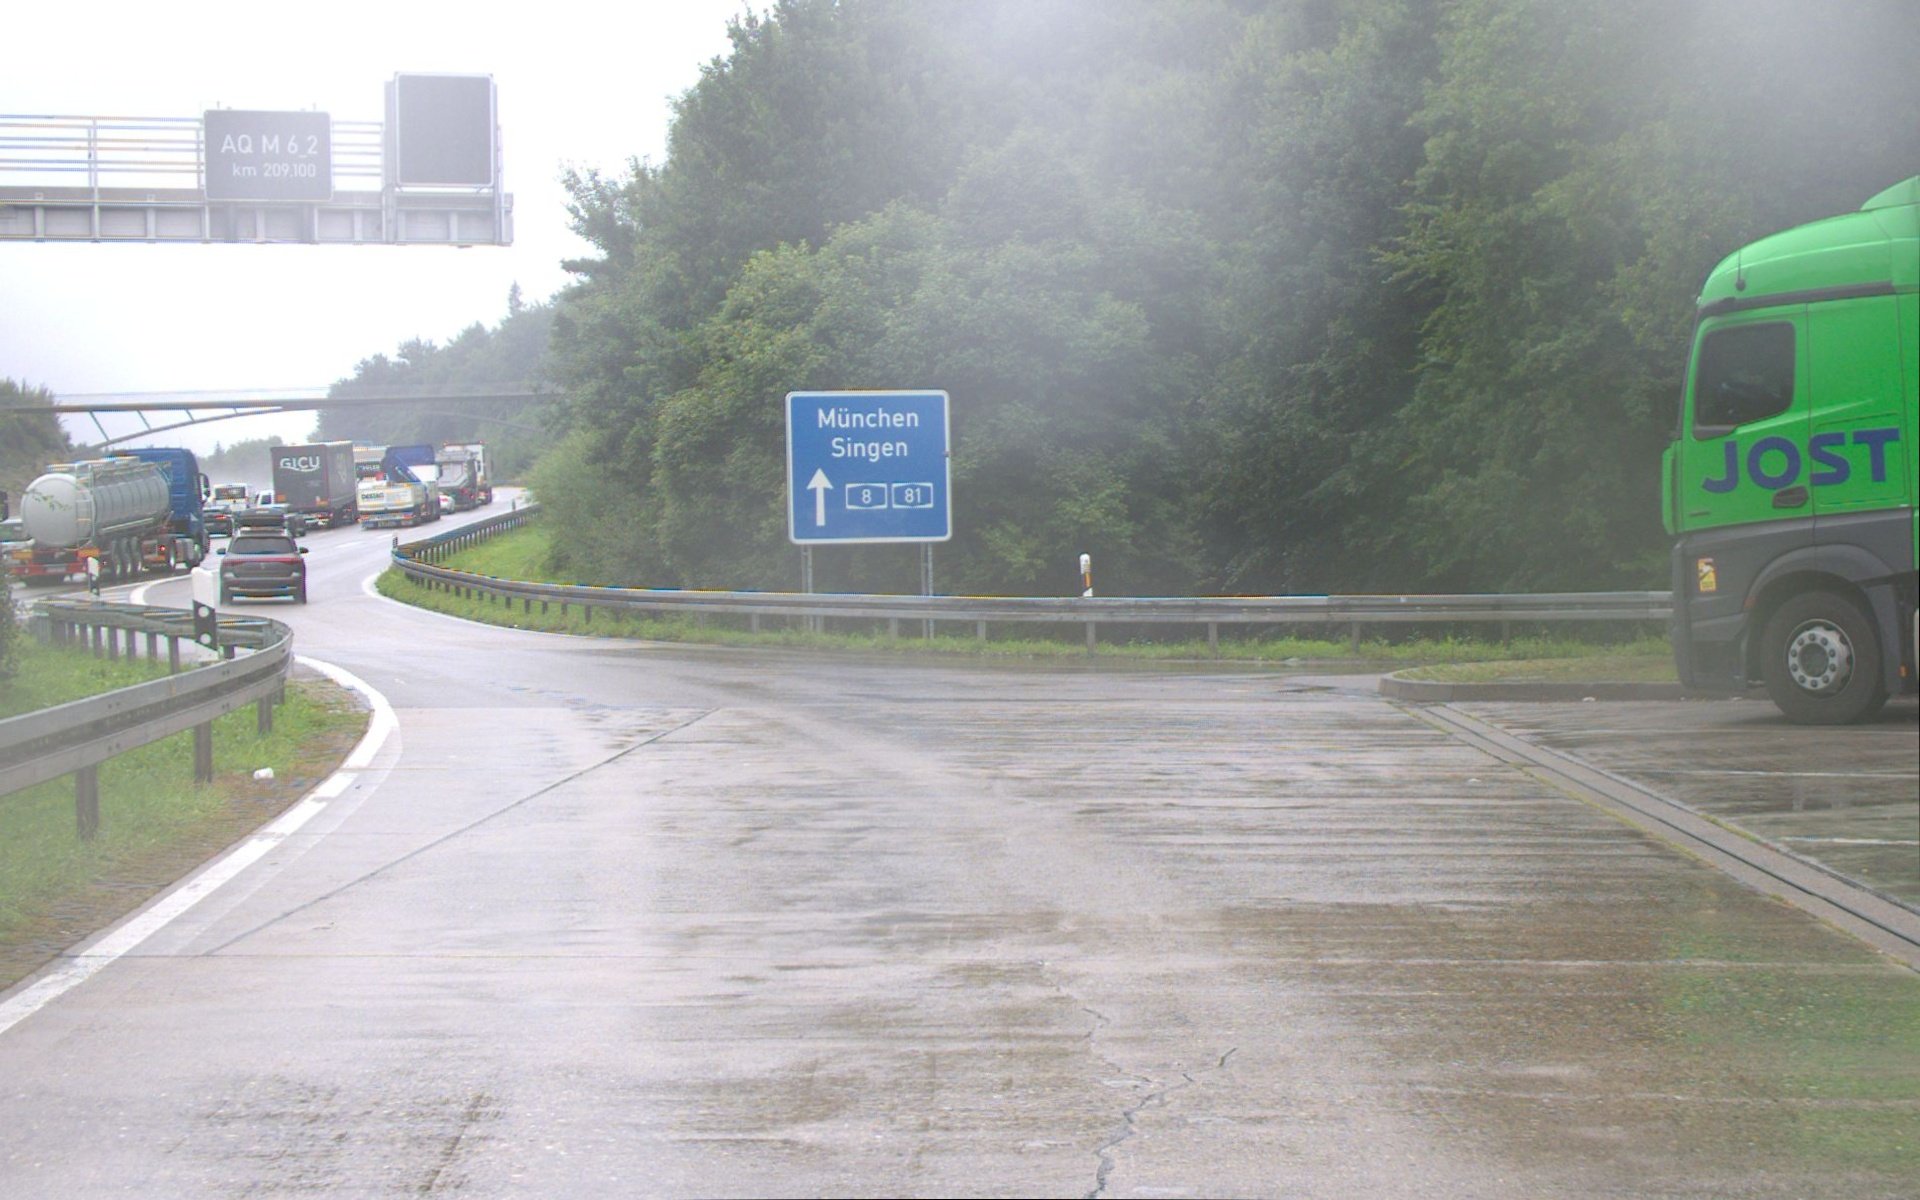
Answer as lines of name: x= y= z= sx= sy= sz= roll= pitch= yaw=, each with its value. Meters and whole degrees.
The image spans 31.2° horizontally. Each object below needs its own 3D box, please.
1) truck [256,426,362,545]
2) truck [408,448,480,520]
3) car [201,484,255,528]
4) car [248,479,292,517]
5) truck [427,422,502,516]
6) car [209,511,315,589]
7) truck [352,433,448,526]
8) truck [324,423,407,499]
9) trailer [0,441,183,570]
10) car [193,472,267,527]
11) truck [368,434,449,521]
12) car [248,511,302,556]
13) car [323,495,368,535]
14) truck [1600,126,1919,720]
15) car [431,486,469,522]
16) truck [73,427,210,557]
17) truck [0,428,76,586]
truck: x=-31.220 y=-5.415 z=165.279 sx=3.754 sy=5.480 sz=10.174 roll=1 pitch=1 yaw=-4
truck: x=-30.326 y=-6.753 z=202.507 sx=3.754 sy=3.957 sz=11.062 roll=1 pitch=1 yaw=-6
car: x=-33.284 y=-4.271 z=156.491 sx=1.797 sy=1.897 sz=4.001 roll=-2 pitch=1 yaw=-4
car: x=-36.373 y=-5.350 z=181.239 sx=1.797 sy=1.897 sz=4.001 roll=-2 pitch=1 yaw=-5
truck: x=-31.818 y=-8.335 z=221.235 sx=4.335 sy=5.744 sz=9.733 roll=1 pitch=1 yaw=-6
car: x=-15.283 y=-1.104 z=75.458 sx=1.993 sy=1.630 sz=4.001 roll=1 pitch=1 yaw=-8
truck: x=-26.412 y=-5.739 z=162.572 sx=3.599 sy=4.090 sz=11.563 roll=-3 pitch=3 yaw=-6
truck: x=-34.767 y=-8.079 z=201.557 sx=3.576 sy=4.081 sz=10.882 roll=-2 pitch=1 yaw=-4
trailer: x=-24.248 y=-2.736 z=96.139 sx=2.873 sy=3.277 sz=10.080 roll=-2 pitch=3 yaw=-1
car: x=-42.105 y=-5.792 z=198.589 sx=3.246 sy=2.992 sz=6.774 roll=1 pitch=1 yaw=-4
truck: x=-28.506 y=-6.292 z=178.172 sx=3.506 sy=4.253 sz=10.606 roll=1 pitch=1 yaw=-6
car: x=-29.111 y=-2.823 z=146.227 sx=1.797 sy=1.897 sz=4.001 roll=1 pitch=1 yaw=-5
car: x=-30.964 y=-4.273 z=173.303 sx=1.797 sy=1.897 sz=4.001 roll=-2 pitch=1 yaw=-5
truck: x=7.989 y=-1.292 z=24.697 sx=2.819 sy=4.135 sz=5.994 roll=-3 pitch=1 yaw=-45
car: x=-28.116 y=-5.307 z=189.673 sx=1.797 sy=1.897 sz=4.001 roll=-2 pitch=1 yaw=-5
truck: x=-24.466 y=-3.272 z=102.997 sx=2.877 sy=3.680 sz=5.057 roll=-2 pitch=3 yaw=-2
truck: x=-23.157 y=-2.073 z=78.620 sx=2.831 sy=3.576 sz=11.799 roll=-3 pitch=2 yaw=-1
